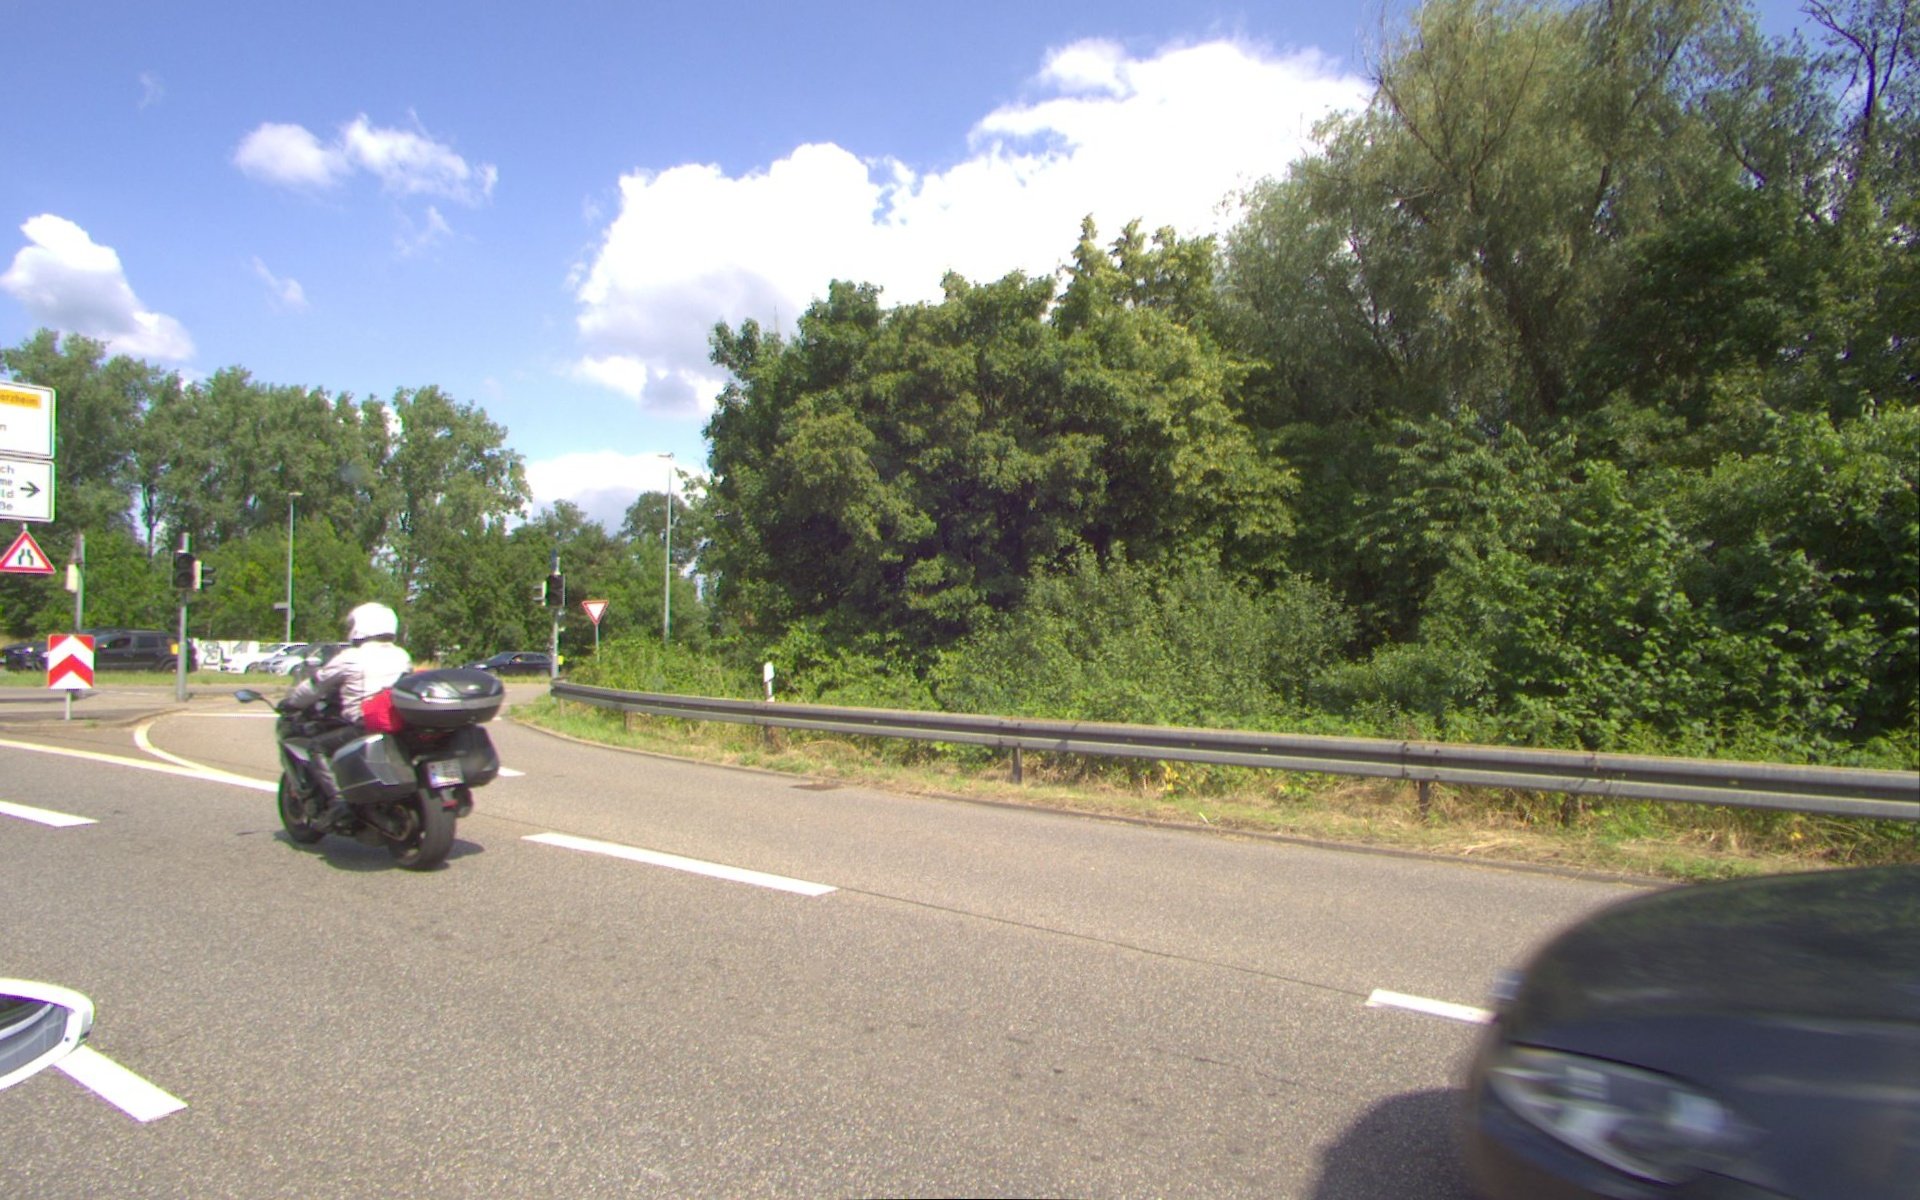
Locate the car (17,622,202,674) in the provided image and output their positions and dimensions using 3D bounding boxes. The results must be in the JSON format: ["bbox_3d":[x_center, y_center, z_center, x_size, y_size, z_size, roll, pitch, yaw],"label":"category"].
[{"bbox_3d":[-27.551,1.562,32.587,1.711,1.564,4.264,0,-3,31],"label":"car"}]

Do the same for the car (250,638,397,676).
[{"bbox_3d":[-24.200,2.152,38.263,1.710,1.337,4.471,0,-3,29],"label":"car"}]

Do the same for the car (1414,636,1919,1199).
[{"bbox_3d":[2.912,0.825,1.328,3.992,1.495,1.728,-1,-3,35],"label":"car"}]

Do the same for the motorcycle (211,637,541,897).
[{"bbox_3d":[-3.862,0.967,6.554,2.336,1.406,0.864,0,-2,32],"label":"motorcycle"}]

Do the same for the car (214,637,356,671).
[{"bbox_3d":[-27.293,2.190,40.631,1.710,1.297,4.491,0,-3,29],"label":"car"}]

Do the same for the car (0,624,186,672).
[{"bbox_3d":[-30.416,1.694,35.166,1.711,1.564,4.842,0,-3,31],"label":"car"}]

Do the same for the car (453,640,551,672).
[{"bbox_3d":[-22.526,2.751,49.415,1.710,1.495,4.222,0,-3,29],"label":"car"}]

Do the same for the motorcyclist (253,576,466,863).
[{"bbox_3d":[-3.957,0.739,6.624,0.881,1.722,0.864,0,-2,32],"label":"motorcyclist"}]
